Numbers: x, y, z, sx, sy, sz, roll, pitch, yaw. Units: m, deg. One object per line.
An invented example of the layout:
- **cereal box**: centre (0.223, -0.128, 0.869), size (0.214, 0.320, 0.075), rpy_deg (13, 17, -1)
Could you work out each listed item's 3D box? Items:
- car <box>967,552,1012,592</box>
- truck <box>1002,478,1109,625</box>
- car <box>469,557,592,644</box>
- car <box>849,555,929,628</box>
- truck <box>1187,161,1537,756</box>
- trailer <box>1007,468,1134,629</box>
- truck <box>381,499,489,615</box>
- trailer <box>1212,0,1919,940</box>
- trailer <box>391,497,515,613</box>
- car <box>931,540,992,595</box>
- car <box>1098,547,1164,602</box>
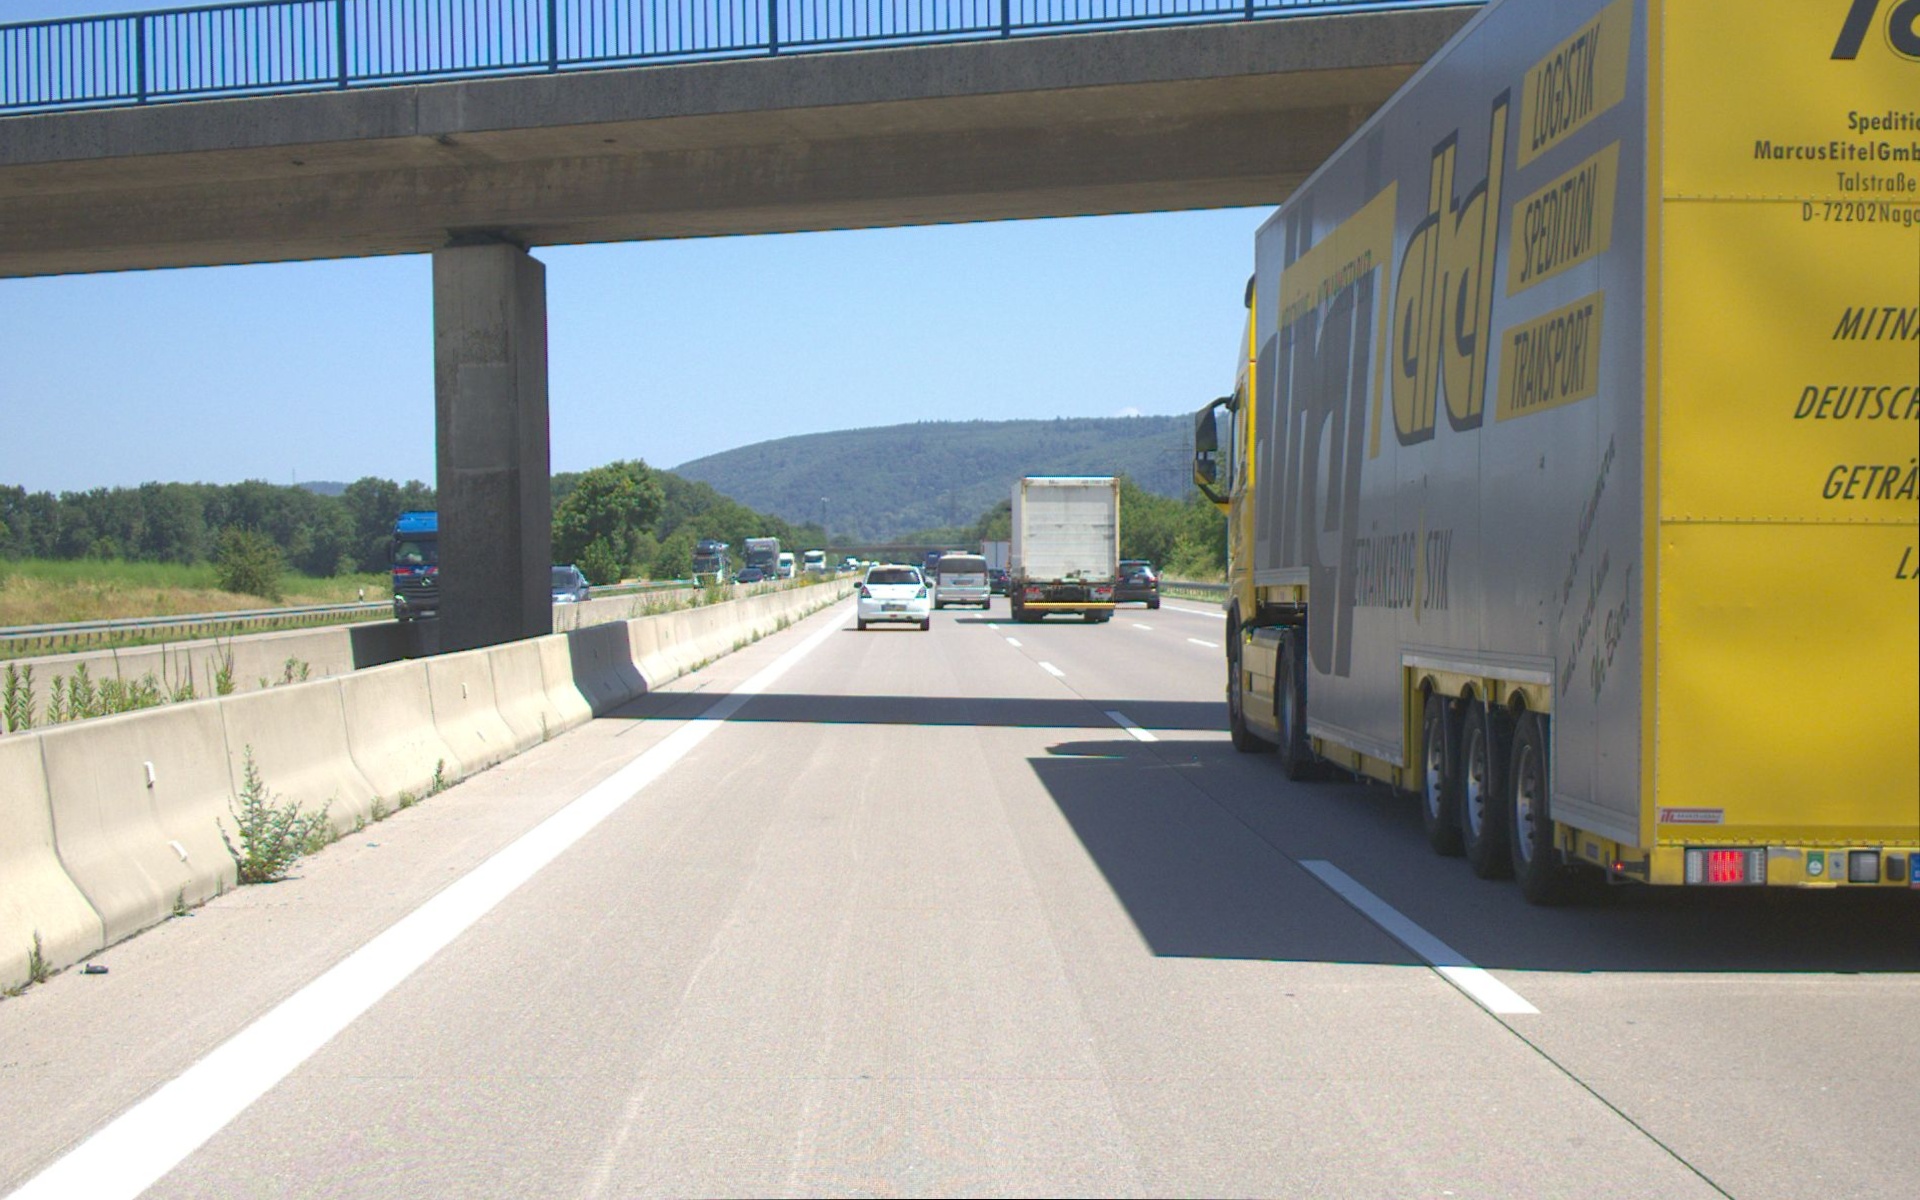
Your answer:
- **car**: centre (1.400, -1.340, 165.582), size (1.993, 1.842, 4.000), rpy_deg (2, 0, -1)
- **truck**: centre (2.558, -1.310, 93.515), size (2.580, 3.864, 4.984), rpy_deg (1, 0, -2)
- **car**: centre (-10.437, -0.020, 83.931), size (2.306, 2.007, 5.655), rpy_deg (1, 1, 0)
- **car**: centre (-1.695, -0.214, 80.726), size (1.819, 1.656, 4.000), rpy_deg (0, 1, -2)
- **truck**: centre (3.058, -1.038, 27.277), size (1.993, 4.240, 5.195), rpy_deg (1, 0, -1)
- **trailer**: centre (2.737, -1.293, 88.114), size (2.580, 3.864, 10.374), rpy_deg (1, 1, -2)
- **truck**: centre (-18.908, -1.555, 124.068), size (2.981, 4.076, 6.466), rpy_deg (0, 1, -1)
- **trailer**: centre (3.231, -0.971, 19.971), size (1.993, 4.240, 15.201), rpy_deg (1, 1, -1)
- **trailer**: centre (-18.996, -1.677, 129.526), size (2.981, 4.076, 11.606), rpy_deg (-2, 1, -1)
- **car**: centre (0.030, -1.119, 119.278), size (1.993, 1.842, 4.000), rpy_deg (1, 1, -1)
- **car**: centre (6.061, -0.902, 122.384), size (1.993, 1.842, 4.000), rpy_deg (2, 0, -1)
